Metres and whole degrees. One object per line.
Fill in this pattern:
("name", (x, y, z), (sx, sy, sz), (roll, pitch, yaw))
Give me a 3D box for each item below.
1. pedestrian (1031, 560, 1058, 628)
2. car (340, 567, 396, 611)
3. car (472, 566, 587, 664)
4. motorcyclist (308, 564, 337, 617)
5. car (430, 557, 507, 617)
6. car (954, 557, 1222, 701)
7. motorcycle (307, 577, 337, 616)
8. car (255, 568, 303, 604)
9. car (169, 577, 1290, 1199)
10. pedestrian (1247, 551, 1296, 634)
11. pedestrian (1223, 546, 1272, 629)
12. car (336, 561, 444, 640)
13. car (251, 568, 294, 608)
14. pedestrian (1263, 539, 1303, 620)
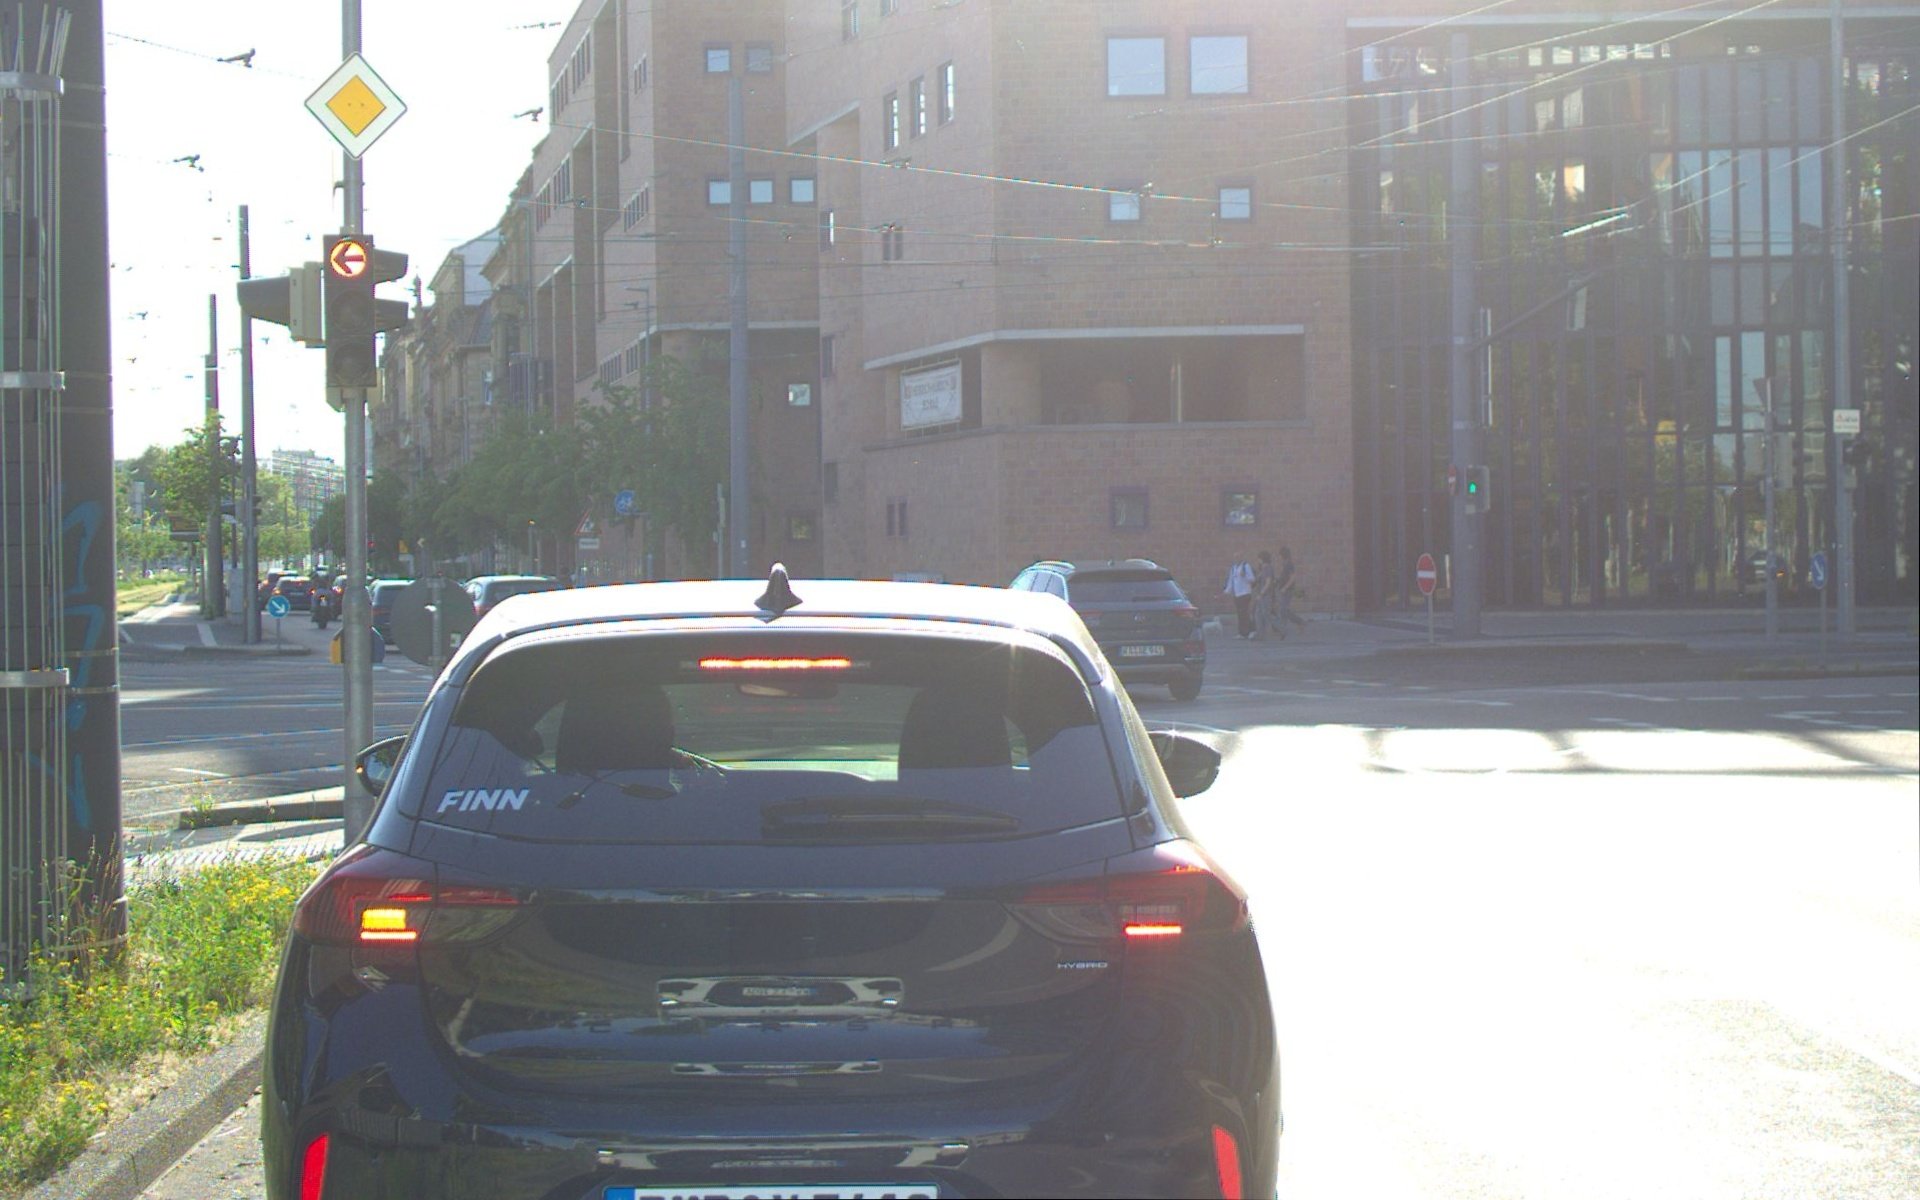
("pedestrian", (1.765, -0.128, 71.775), (0.529, 1.425, 0.598), (-1, 1, -1))
("car", (-20.313, -0.400, 118.010), (1.807, 1.452, 4.001), (0, 1, -9))
("car", (-6.698, 0.199, 53.449), (1.685, 1.428, 4.154), (-1, 1, -7))
("motorcyclist", (-18.452, -0.281, 99.570), (0.744, 1.525, 1.021), (-1, 1, -8))
("car", (-12.257, -0.342, 85.838), (1.807, 1.452, 4.001), (0, 1, -7))
("car", (1.377, 0.286, 38.624), (1.744, 1.499, 3.881), (-1, 1, -18))
("motorcycle", (-18.454, -0.105, 99.431), (0.775, 1.111, 1.970), (-1, 1, -9))
("car", (-25.938, -0.542, 130.890), (1.737, 1.345, 4.001), (-1, 1, -12))
("car", (-0.316, 0.691, 7.086), (1.649, 1.428, 4.000), (-1, 1, 1))
("pedestrian", (6.082, -0.151, 67.050), (0.900, 1.611, 0.560), (-1, 1, 8))
("pedestrian", (5.671, -0.254, 67.794), (0.900, 1.611, 0.560), (-1, 1, 8))
("car", (-11.335, -0.011, 68.634), (1.811, 1.487, 4.497), (-1, 1, -6))
("car", (-29.066, -0.507, 145.342), (1.737, 1.645, 4.001), (-1, 1, -12))
("pedestrian", (6.466, -0.418, 68.774), (0.738, 1.611, 0.560), (-1, 1, 8))
